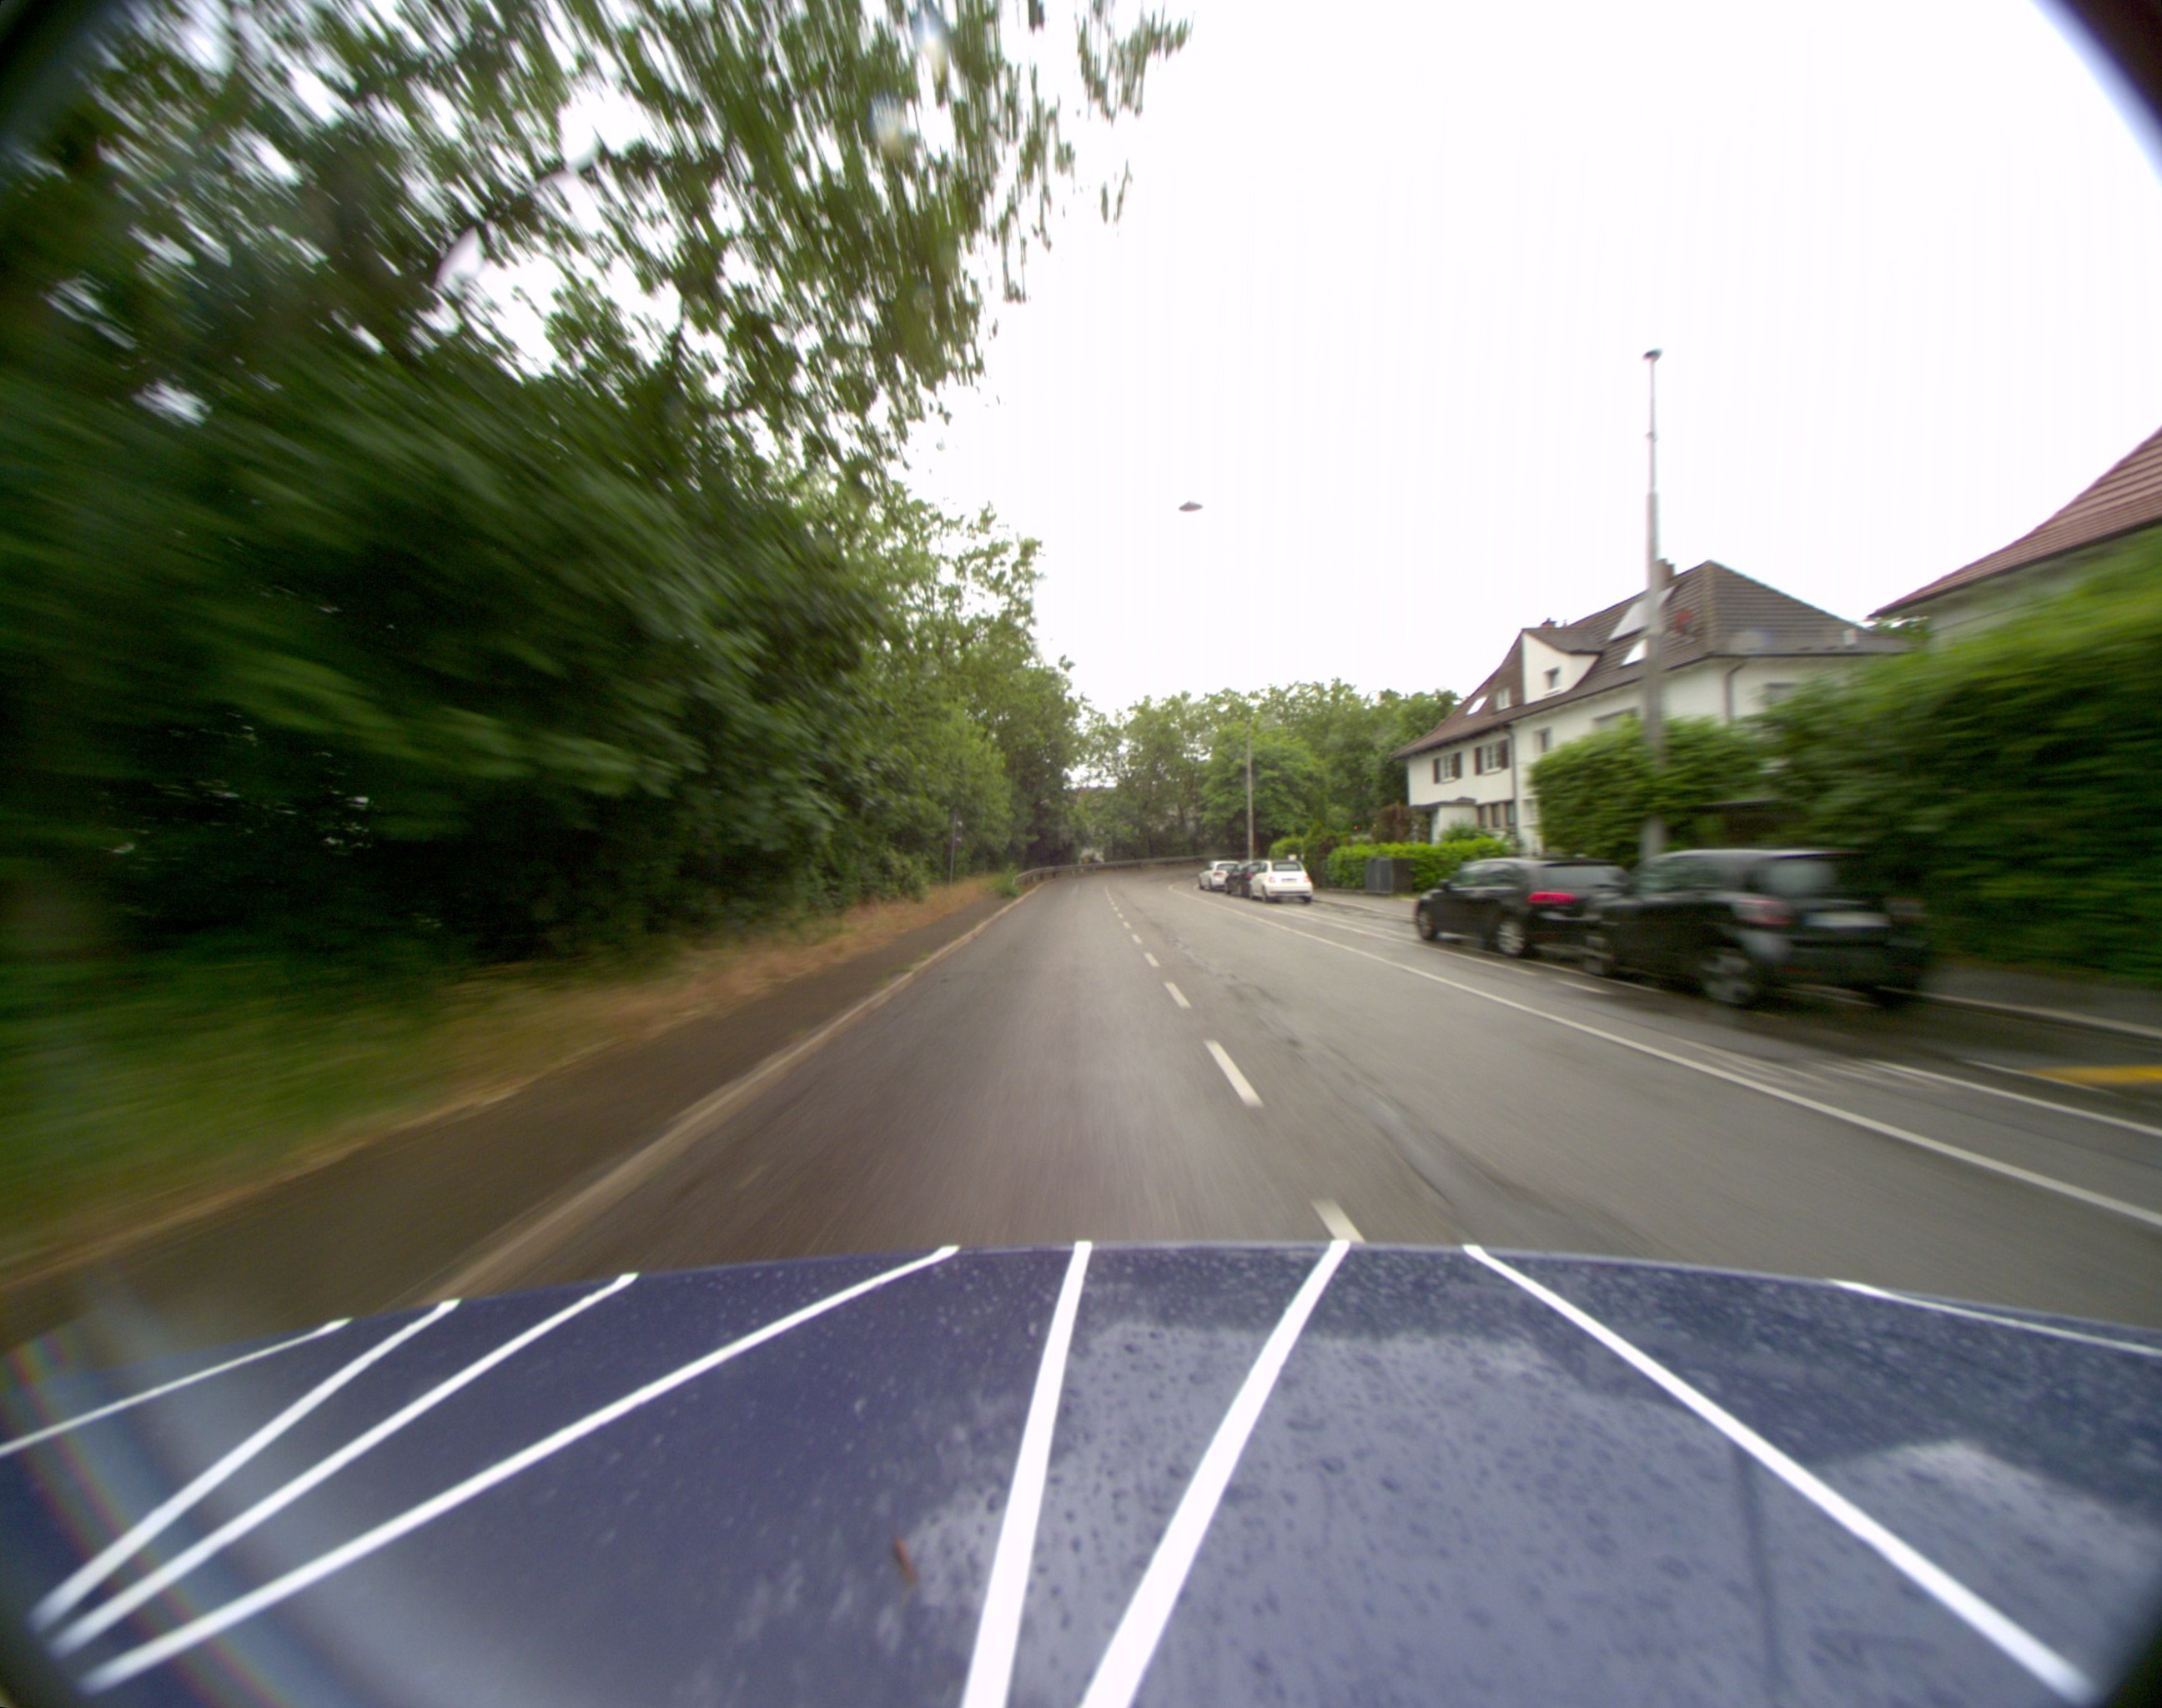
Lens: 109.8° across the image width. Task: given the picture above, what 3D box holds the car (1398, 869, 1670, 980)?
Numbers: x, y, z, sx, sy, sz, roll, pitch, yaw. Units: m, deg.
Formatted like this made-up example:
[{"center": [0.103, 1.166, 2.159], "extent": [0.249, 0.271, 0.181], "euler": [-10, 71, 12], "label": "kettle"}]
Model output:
[{"center": [6.835, 0.965, 12.082], "extent": [1.692, 1.410, 4.215], "euler": [0, -1, -2], "label": "car"}]

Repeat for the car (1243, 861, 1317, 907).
[{"center": [7.110, 1.021, 27.482], "extent": [1.702, 1.459, 3.711], "euler": [-2, 0, 1], "label": "car"}]

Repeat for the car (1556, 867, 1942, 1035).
[{"center": [6.806, 0.876, 8.180], "extent": [1.523, 1.445, 3.030], "euler": [0, -1, 1], "label": "car"}]

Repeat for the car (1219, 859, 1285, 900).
[{"center": [7.086, 1.010, 31.895], "extent": [1.702, 1.516, 4.422], "euler": [-2, 0, -1], "label": "car"}]

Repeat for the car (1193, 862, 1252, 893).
[{"center": [6.885, 1.160, 37.511], "extent": [1.738, 1.413, 4.282], "euler": [0, -1, -6], "label": "car"}]
